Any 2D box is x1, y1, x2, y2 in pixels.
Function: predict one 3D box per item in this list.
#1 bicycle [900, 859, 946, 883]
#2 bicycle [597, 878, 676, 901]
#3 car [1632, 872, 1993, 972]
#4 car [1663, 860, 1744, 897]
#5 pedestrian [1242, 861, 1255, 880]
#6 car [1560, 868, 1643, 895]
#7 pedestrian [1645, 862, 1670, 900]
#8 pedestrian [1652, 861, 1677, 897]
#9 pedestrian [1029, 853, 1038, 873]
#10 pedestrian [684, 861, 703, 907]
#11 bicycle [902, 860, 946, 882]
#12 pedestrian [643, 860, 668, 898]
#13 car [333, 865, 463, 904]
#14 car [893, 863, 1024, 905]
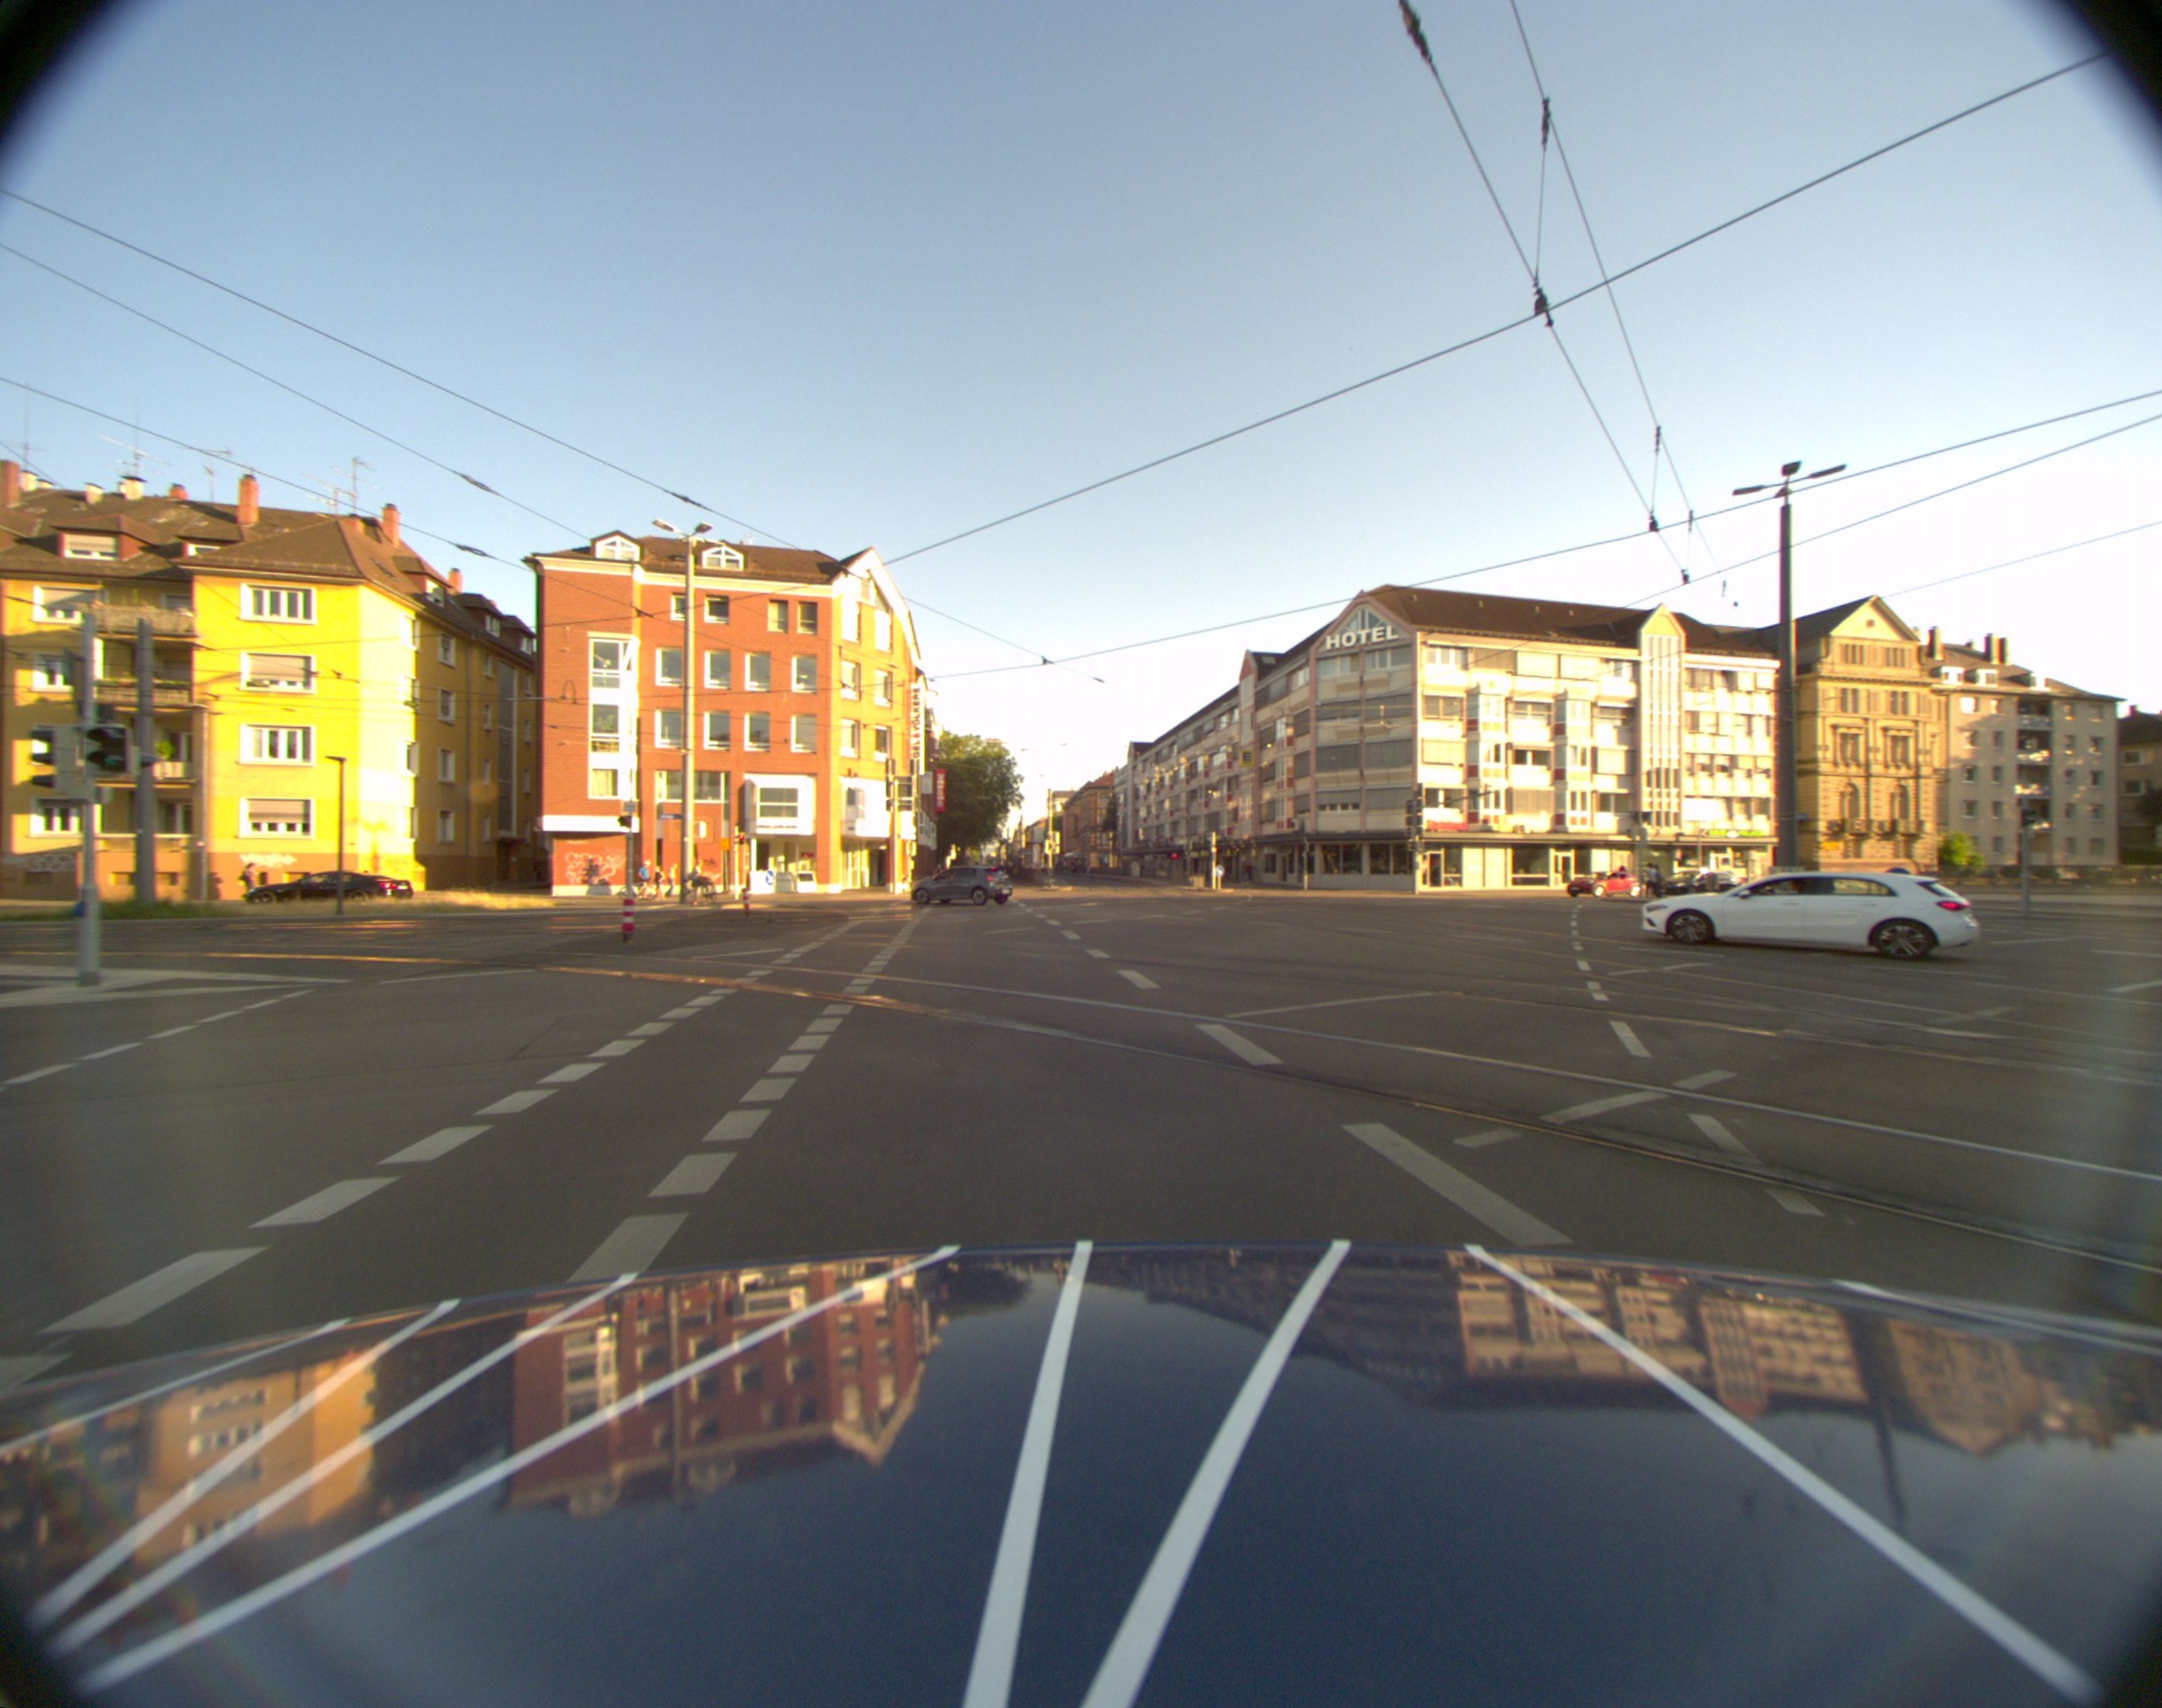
[{"bbox_3d":[-11.750,1.253,56.681,3.308,1.716,1.068,0,0,-9],"label":"bicycle"},{"bbox_3d":[-20.620,1.628,35.330,3.067,1.011,0.930,0,0,-19],"label":"bicycle"},{"bbox_3d":[13.124,1.090,13.941,1.820,1.440,4.550,1,-1,-38],"label":"car"},{"bbox_3d":[31.733,1.191,38.711,4.621,1.547,2.216,-1,4,-39],"label":"car"},{"bbox_3d":[13.967,1.372,63.374,0.708,1.540,0.905,2,3,-11],"label":"pedestrian"},{"bbox_3d":[28.932,1.521,42.287,3.899,1.413,1.647,0,0,-14],"label":"car"},{"bbox_3d":[24.904,1.153,32.857,0.725,1.639,0.773,0,0,27],"label":"pedestrian"},{"bbox_3d":[25.684,1.084,33.472,0.703,1.573,0.827,0,0,25],"label":"pedestrian"},{"bbox_3d":[-4.744,0.868,75.965,0.811,2.002,0.677,0,0,-12],"label":"pedestrian"},{"bbox_3d":[-14.235,1.090,27.929,0.516,1.698,0.419,0,0,-12],"label":"pedestrian"},{"bbox_3d":[-11.926,1.289,57.836,3.308,1.716,1.068,0,0,-10],"label":"bicycle"},{"bbox_3d":[-20.369,1.196,36.386,0.874,1.768,0.916,0,0,-17],"label":"pedestrian"},{"bbox_3d":[-28.528,1.257,31.952,1.846,1.486,4.291,-1,-2,-5],"label":"car"},{"bbox_3d":[-4.755,1.105,29.400,4.690,1.494,1.921,0,0,24],"label":"car"}]
